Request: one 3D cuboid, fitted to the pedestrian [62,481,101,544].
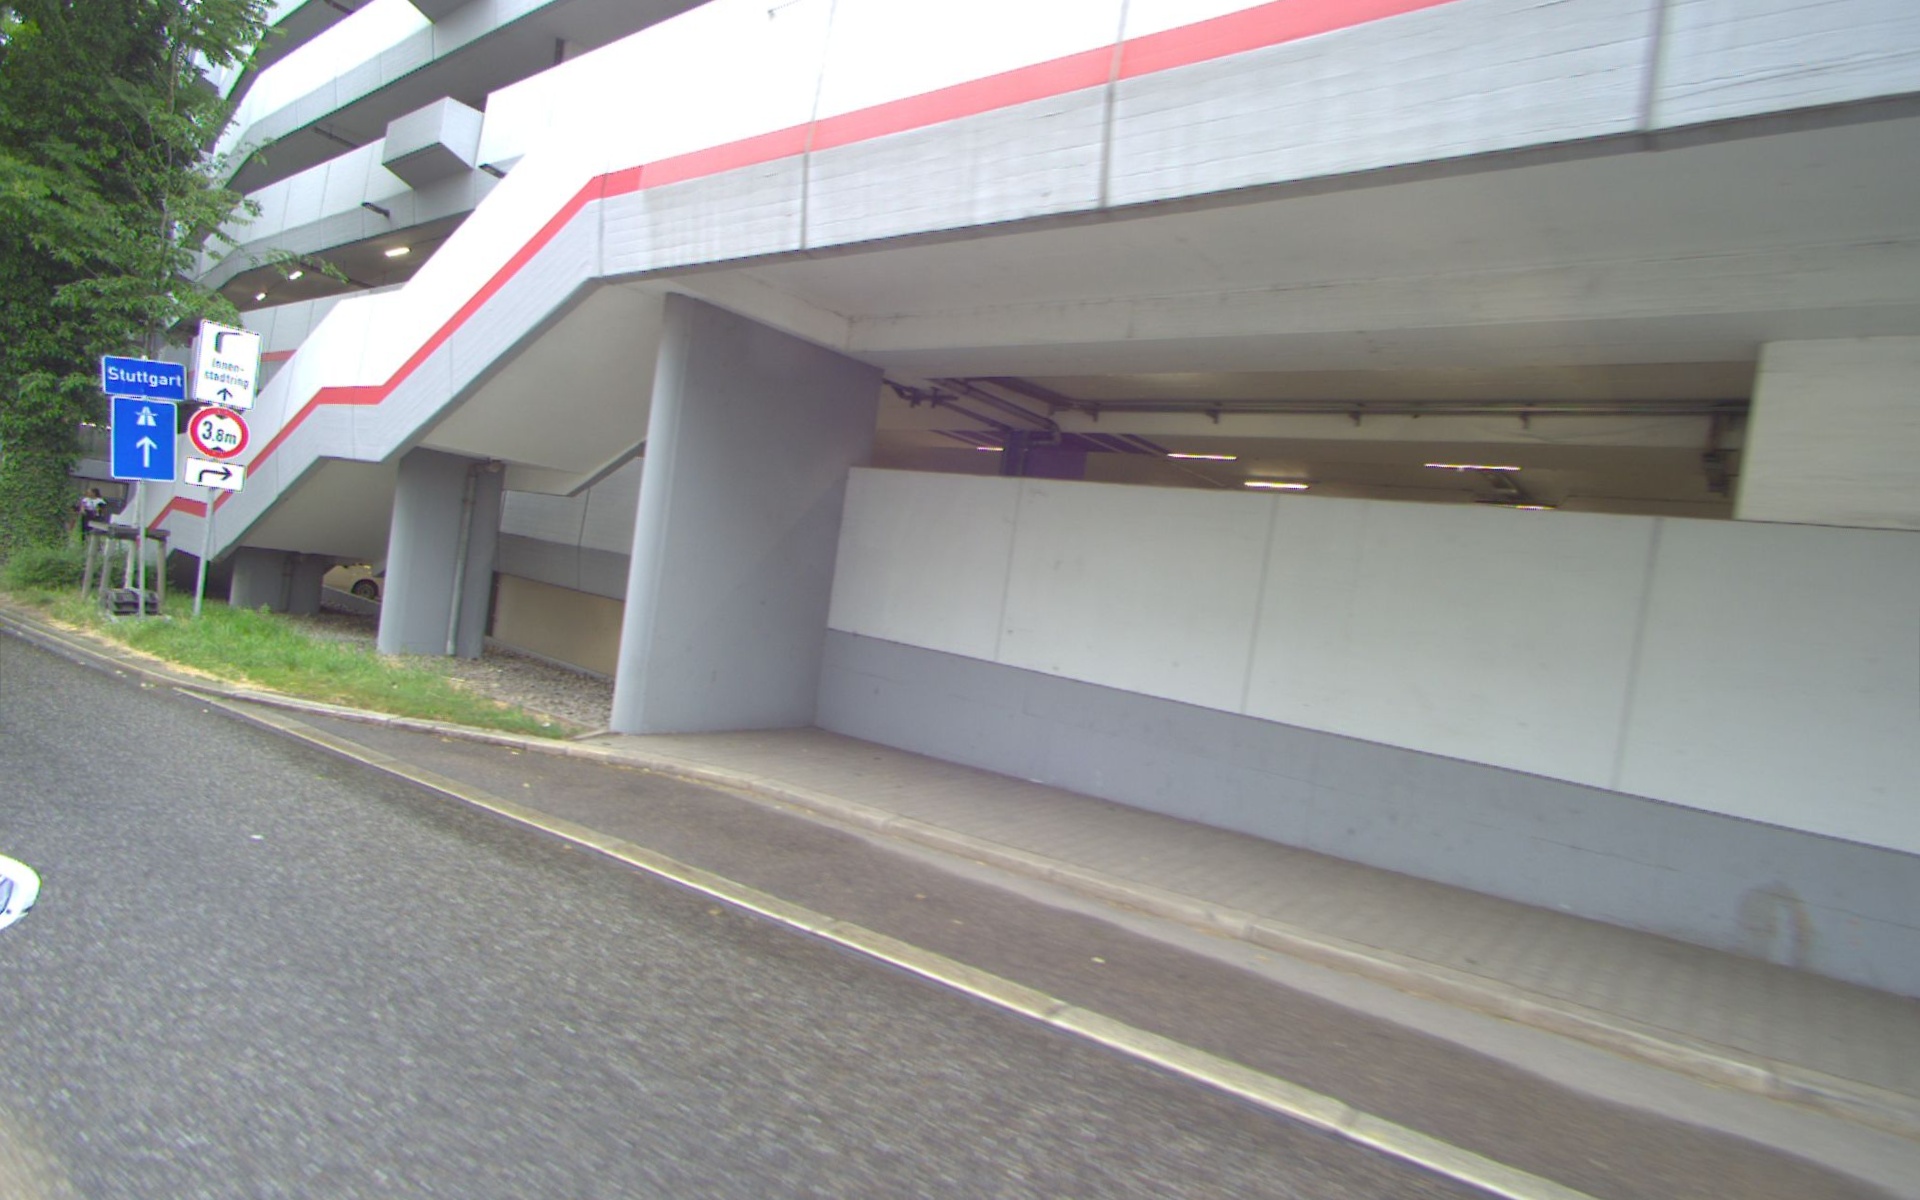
[{"bbox_3d":[-23.203,-2.306,26.557,0.481,1.550,0.551,6,-1,39],"label":"pedestrian"}]

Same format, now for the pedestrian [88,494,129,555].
[{"bbox_3d":[-22.863,-2.025,27.011,0.496,1.519,0.582,6,-1,37],"label":"pedestrian"}]
